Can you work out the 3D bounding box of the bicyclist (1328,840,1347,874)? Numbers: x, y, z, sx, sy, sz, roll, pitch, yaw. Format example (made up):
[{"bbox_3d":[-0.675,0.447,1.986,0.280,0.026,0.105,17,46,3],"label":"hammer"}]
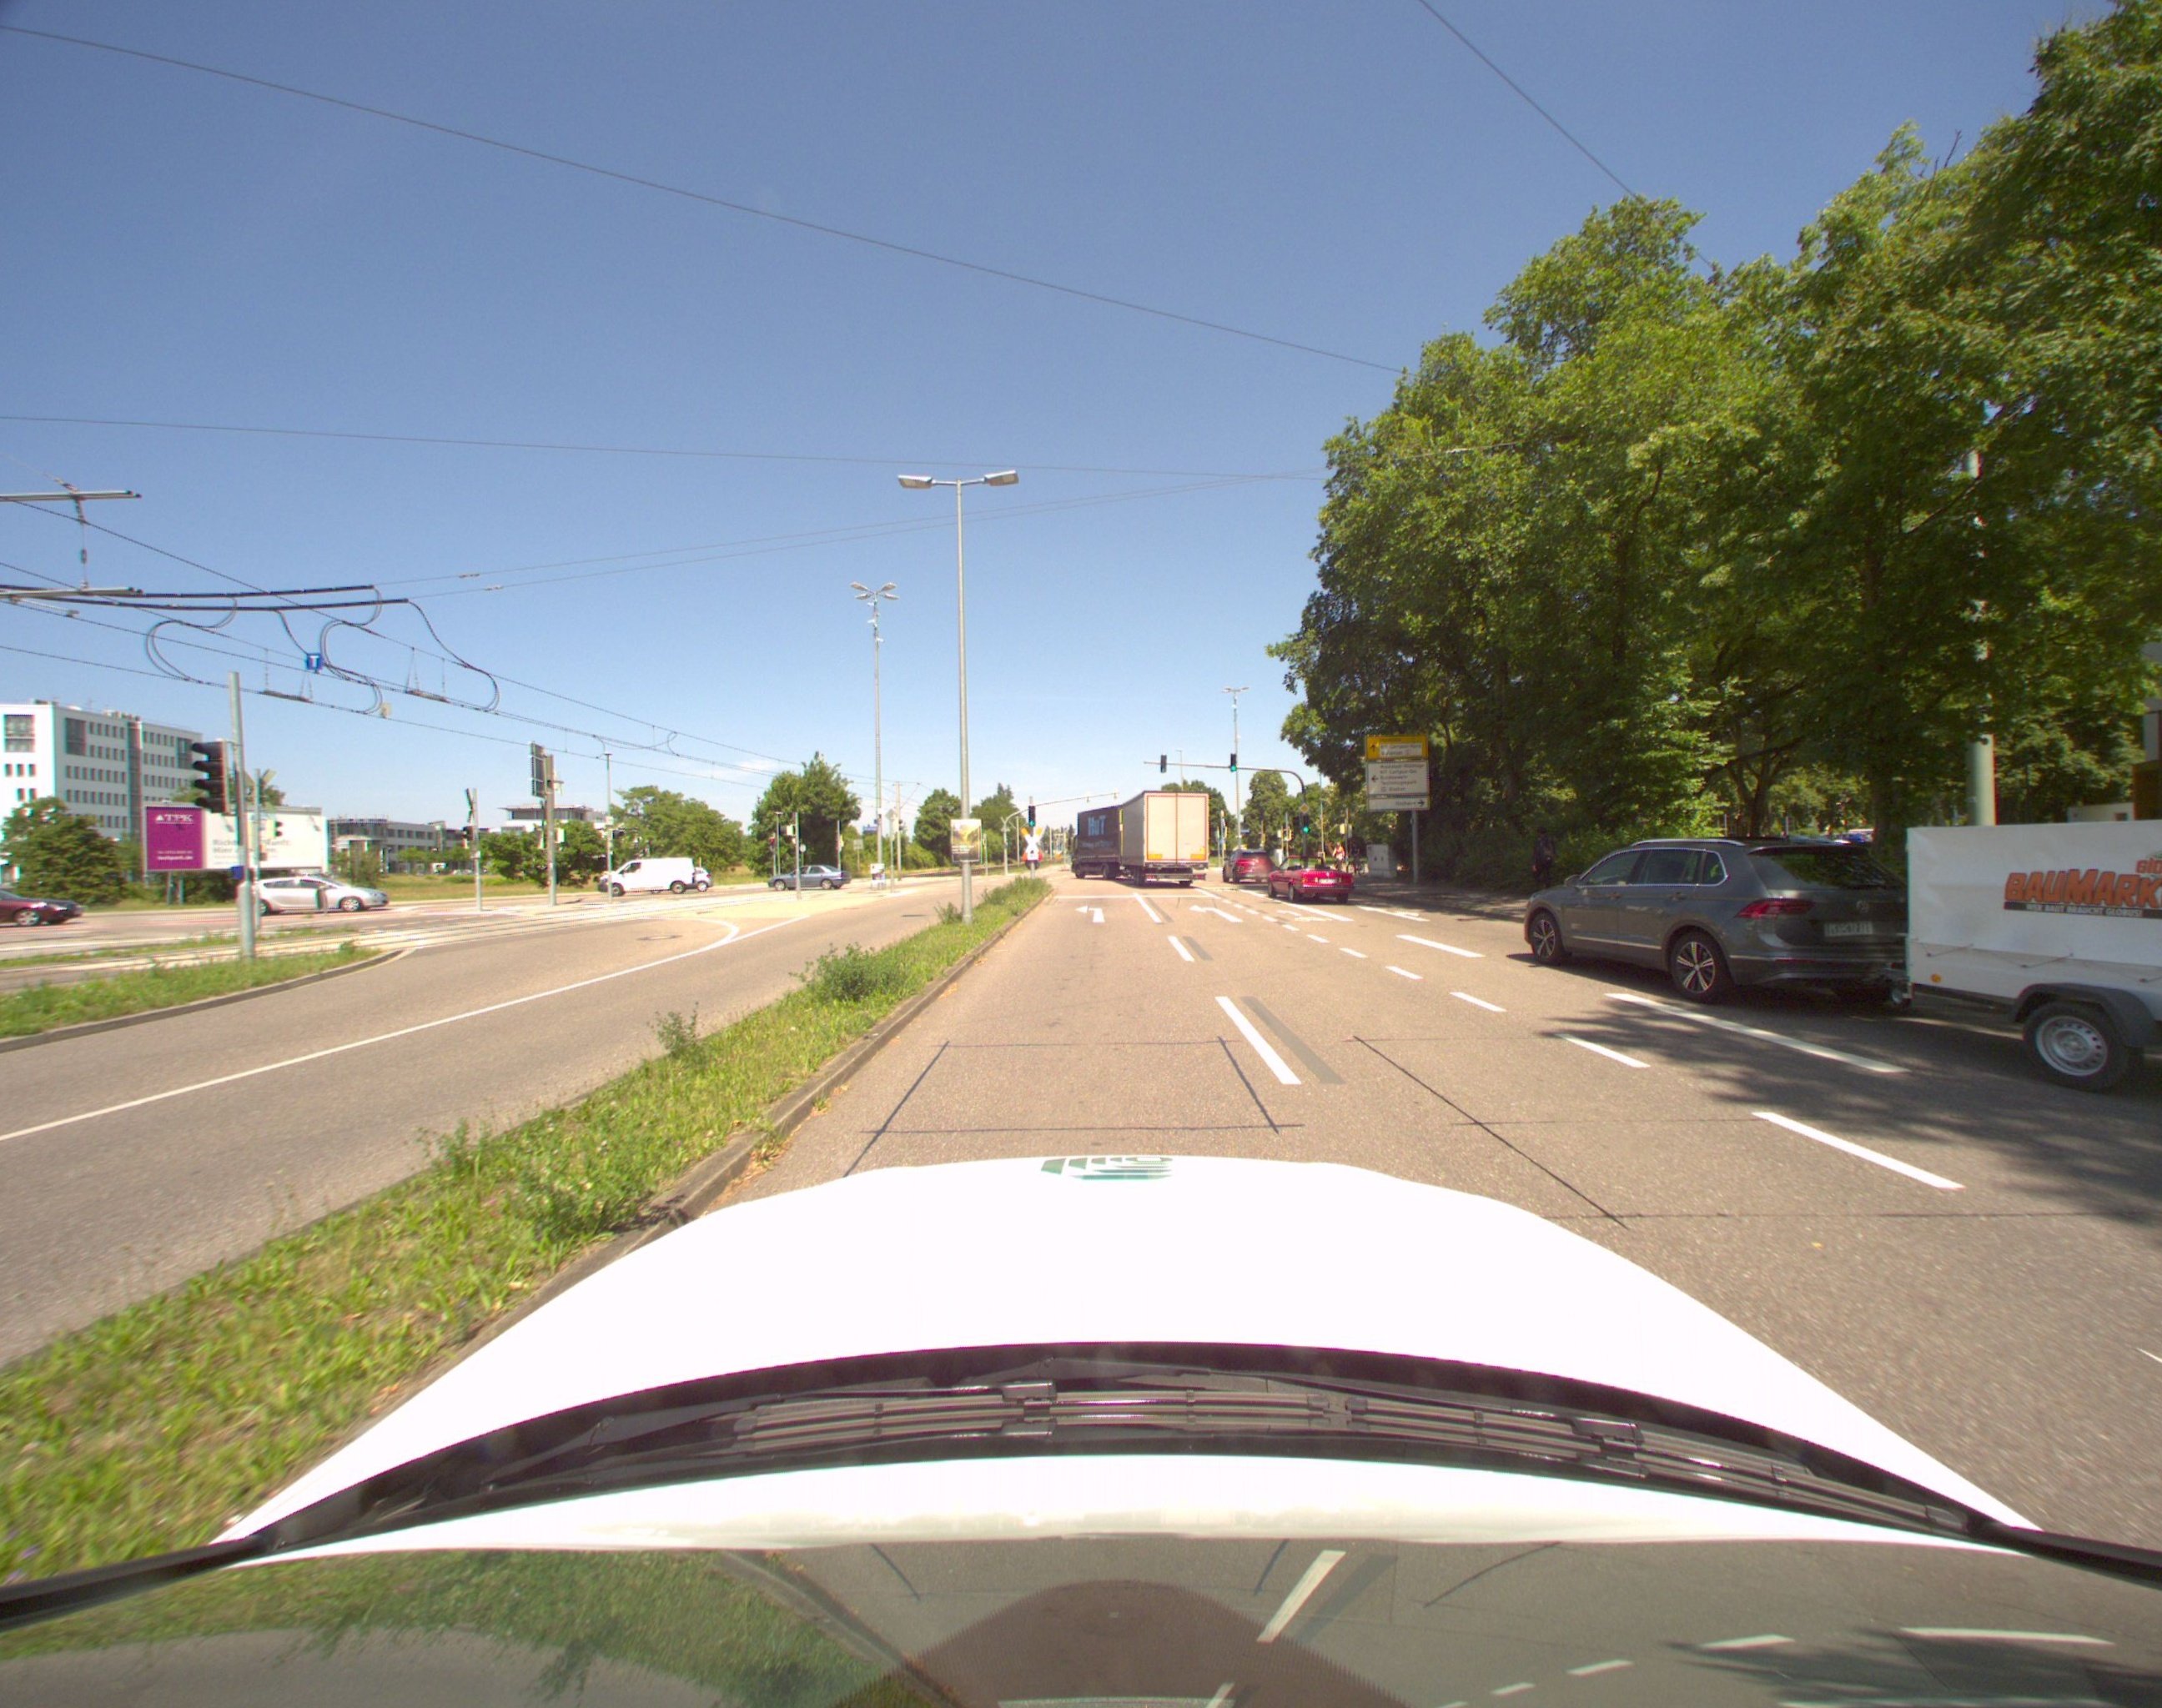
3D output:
[{"bbox_3d":[13.642,0.156,43.331,0.797,1.727,0.681,-4,-1,12],"label":"bicyclist"}]

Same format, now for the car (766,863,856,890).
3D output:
[{"bbox_3d":[-15.166,1.260,45.928,4.396,1.371,1.901,-1,1,3],"label":"car"}]

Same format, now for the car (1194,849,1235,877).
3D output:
[{"bbox_3d":[8.022,0.527,48.577,1.979,1.503,4.520,-1,1,15],"label":"car"}]

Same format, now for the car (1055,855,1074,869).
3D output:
[{"bbox_3d":[-1.699,0.801,85.939,1.852,1.372,4.155,0,0,0],"label":"car"}]

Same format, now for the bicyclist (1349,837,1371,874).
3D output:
[{"bbox_3d":[13.302,0.056,38.861,0.717,1.703,0.683,-4,-1,34],"label":"bicyclist"}]

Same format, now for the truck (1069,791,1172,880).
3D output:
[{"bbox_3d":[1.930,-0.867,43.950,2.835,4.344,8.233,0,-1,-18],"label":"truck"}]

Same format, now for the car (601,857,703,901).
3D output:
[{"bbox_3d":[-23.232,1.314,44.293,4.755,2.111,1.984,-1,1,-25],"label":"car"}]

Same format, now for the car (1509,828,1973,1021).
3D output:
[{"bbox_3d":[6.830,0.596,9.197,1.694,1.654,4.398,0,0,0],"label":"car"}]

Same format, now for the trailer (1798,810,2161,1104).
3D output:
[{"bbox_3d":[6.857,0.580,5.534,1.464,1.669,2.855,0,0,0],"label":"trailer"}]

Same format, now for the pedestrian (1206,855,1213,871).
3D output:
[{"bbox_3d":[15.377,1.075,97.307,0.740,2.013,0.614,0,0,2],"label":"pedestrian"}]

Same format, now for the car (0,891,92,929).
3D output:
[{"bbox_3d":[-38.007,2.010,27.707,5.267,1.132,1.876,-2,1,-40],"label":"car"}]

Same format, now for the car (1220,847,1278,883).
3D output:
[{"bbox_3d":[7.629,0.474,37.374,1.852,1.549,3.886,0,0,0],"label":"car"}]

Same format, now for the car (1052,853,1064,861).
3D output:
[{"bbox_3d":[-3.771,0.467,136.193,1.852,1.372,4.155,0,0,0],"label":"car"}]

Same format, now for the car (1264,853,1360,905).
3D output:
[{"bbox_3d":[6.753,0.668,24.239,1.649,1.396,4.266,0,0,0],"label":"car"}]

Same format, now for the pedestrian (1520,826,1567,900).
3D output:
[{"bbox_3d":[11.732,0.212,20.680,0.750,1.816,0.693,-2,0,0],"label":"pedestrian"}]

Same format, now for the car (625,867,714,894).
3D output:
[{"bbox_3d":[-24.164,1.544,47.952,4.430,1.371,1.886,-1,1,-20],"label":"car"}]

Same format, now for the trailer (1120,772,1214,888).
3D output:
[{"bbox_3d":[3.481,-0.929,35.317,2.820,4.421,8.741,0,0,-2],"label":"trailer"}]

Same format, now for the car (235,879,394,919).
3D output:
[{"bbox_3d":[-30.716,1.753,32.840,4.293,1.293,1.981,-2,1,-30],"label":"car"}]

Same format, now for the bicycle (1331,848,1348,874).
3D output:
[{"bbox_3d":[13.758,0.369,43.391,0.640,1.304,1.631,-4,-1,12],"label":"bicycle"}]

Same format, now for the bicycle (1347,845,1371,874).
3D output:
[{"bbox_3d":[13.230,0.245,38.746,0.717,1.295,1.313,-4,-1,34],"label":"bicycle"}]
